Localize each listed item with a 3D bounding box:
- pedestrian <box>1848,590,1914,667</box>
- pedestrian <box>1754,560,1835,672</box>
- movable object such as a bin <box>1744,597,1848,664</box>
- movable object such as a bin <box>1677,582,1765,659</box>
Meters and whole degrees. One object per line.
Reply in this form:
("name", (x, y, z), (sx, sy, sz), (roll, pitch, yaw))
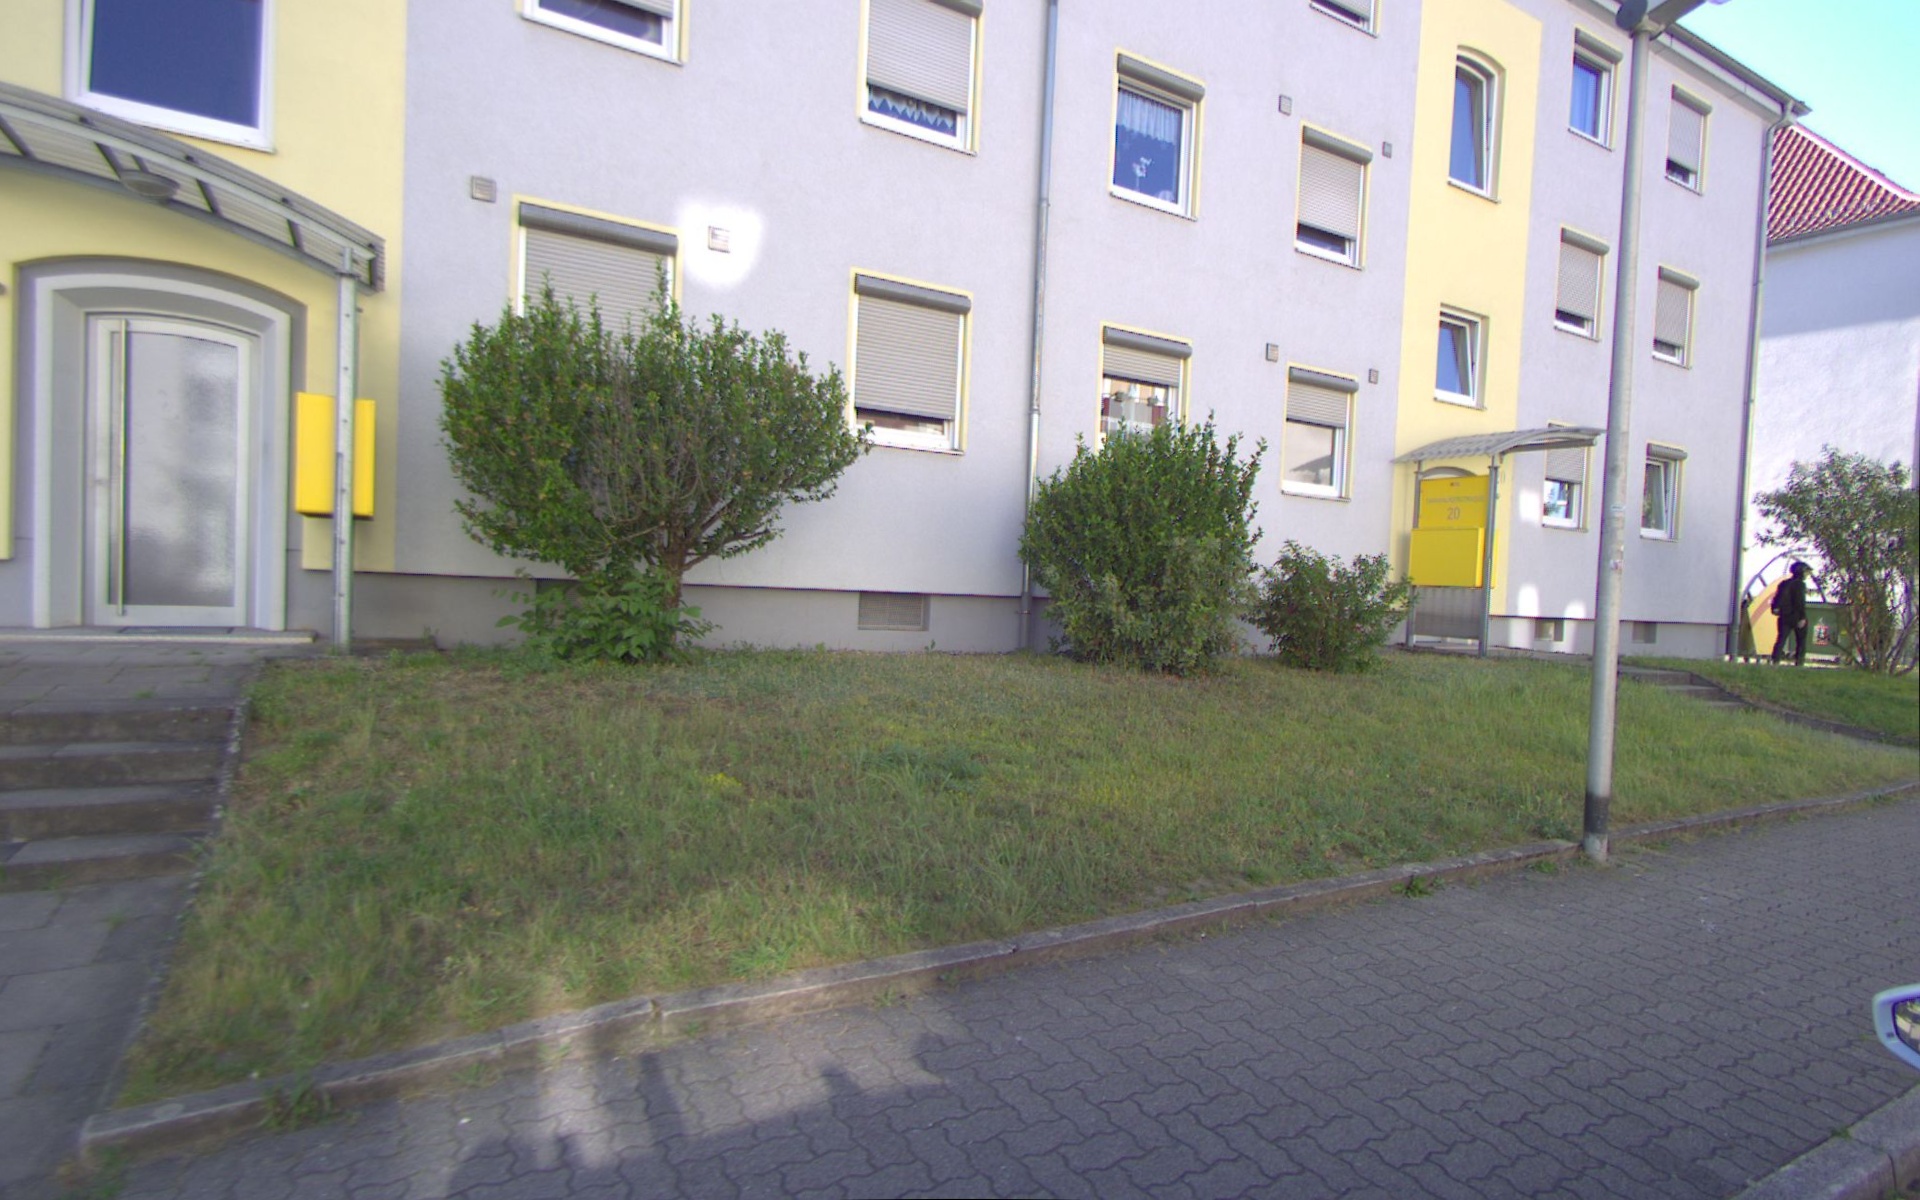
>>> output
("pedestrian", (16.363, 0.500, 17.849), (0.569, 1.335, 0.683), (2, 1, -29))
("pedestrian", (14.209, 0.262, 17.115), (0.709, 1.848, 0.802), (2, 1, -29))
("movable object such as a bin", (18.749, 0.670, 22.537), (1.214, 1.354, 1.380), (1, 4, -30))
("movable object such as a bin", (14.960, 0.395, 19.754), (0.803, 1.425, 1.079), (1, 2, -29))
